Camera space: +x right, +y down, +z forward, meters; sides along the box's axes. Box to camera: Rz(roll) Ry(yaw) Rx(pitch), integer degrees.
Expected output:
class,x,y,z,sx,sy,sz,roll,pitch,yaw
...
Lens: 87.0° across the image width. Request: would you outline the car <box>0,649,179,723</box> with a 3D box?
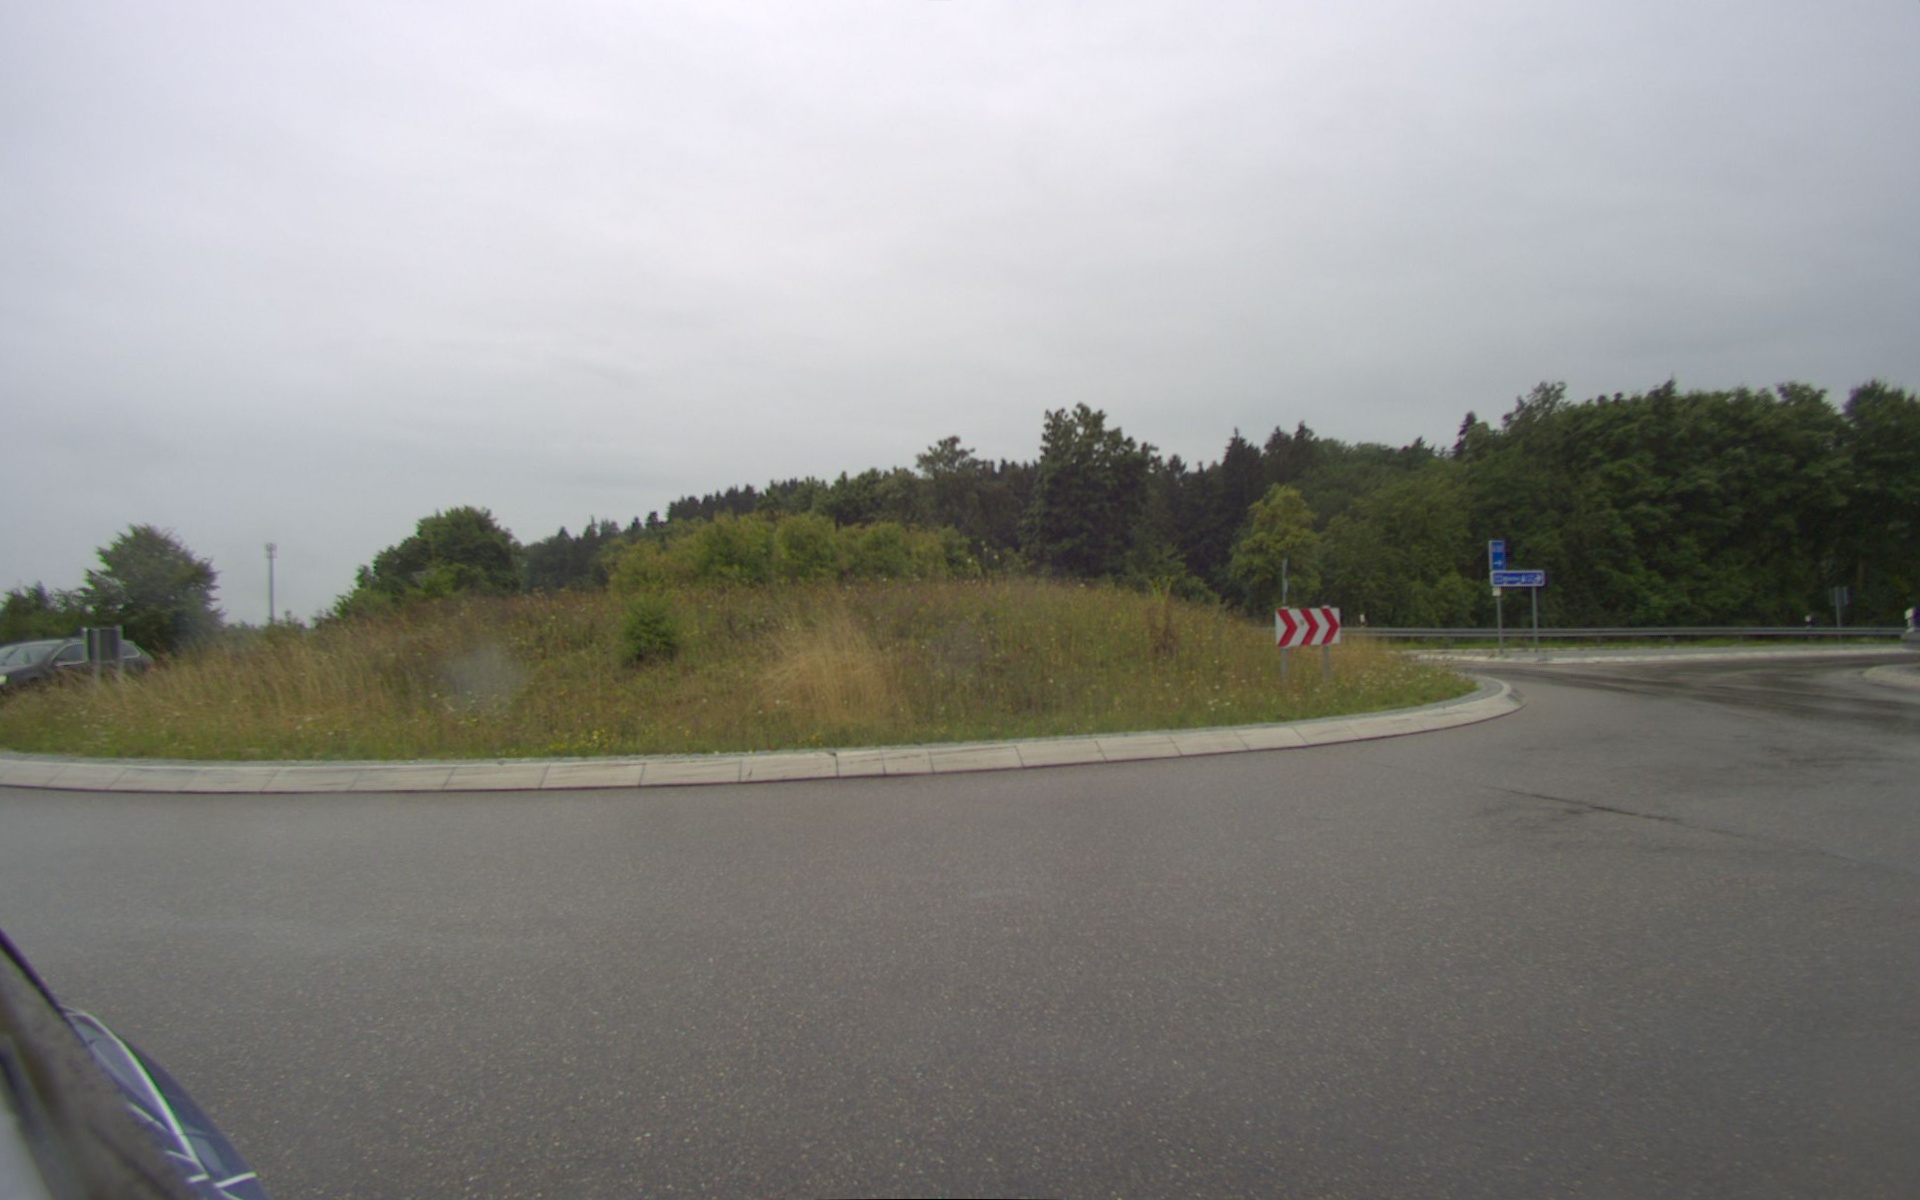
class,x,y,z,sx,sy,sz,roll,pitch,yaw
car,-18.754,1.726,20.660,1.926,1.382,4.495,-2,-3,5
